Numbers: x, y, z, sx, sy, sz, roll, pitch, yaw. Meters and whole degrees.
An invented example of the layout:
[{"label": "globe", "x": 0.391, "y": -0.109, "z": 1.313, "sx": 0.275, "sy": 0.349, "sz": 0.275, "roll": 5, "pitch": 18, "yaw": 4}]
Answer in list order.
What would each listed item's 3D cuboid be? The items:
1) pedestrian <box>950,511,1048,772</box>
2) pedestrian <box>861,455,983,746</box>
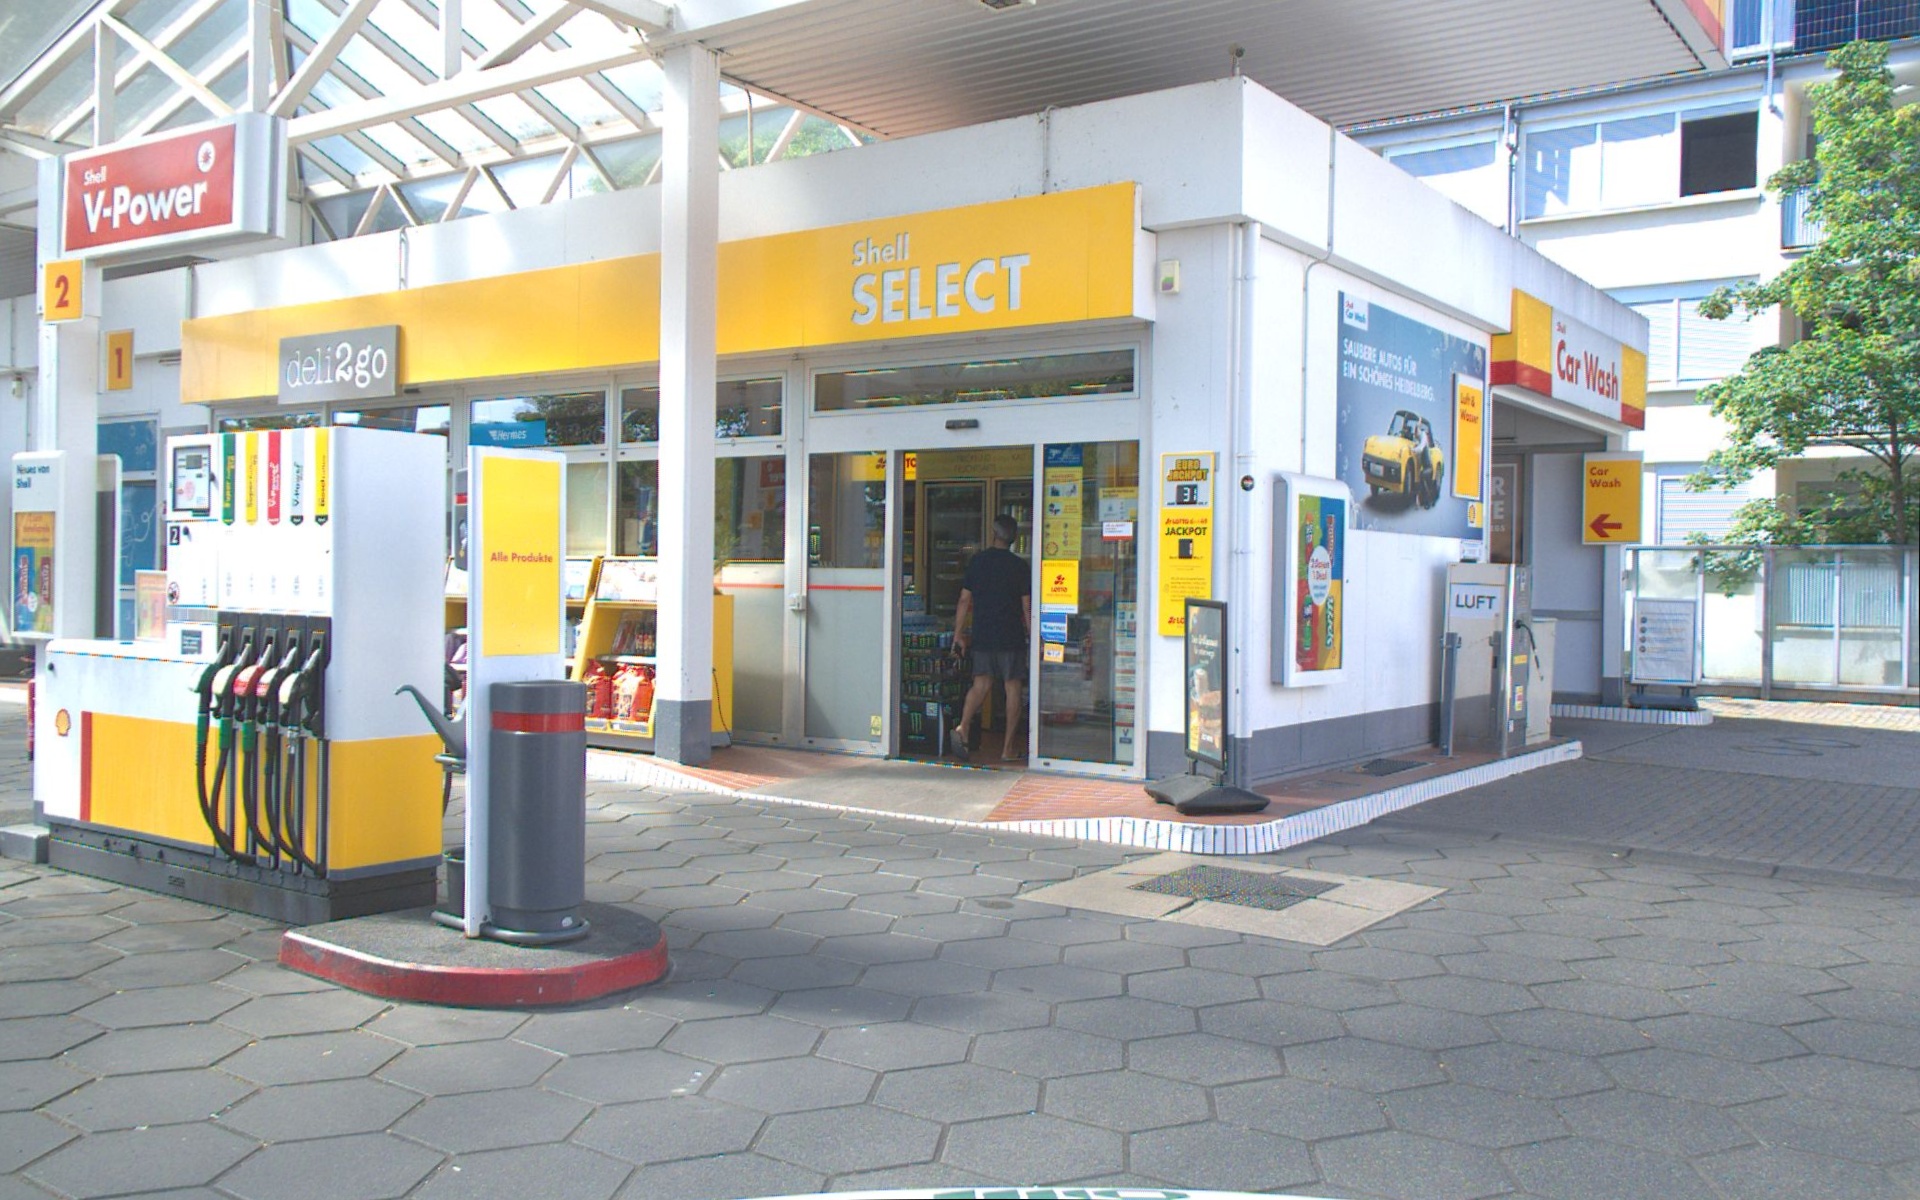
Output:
[{"label": "pedestrian", "x": 0.279, "y": 0.279, "z": 11.668, "sx": 0.559, "sy": 1.792, "sz": 0.531, "roll": 1, "pitch": 0, "yaw": 15}, {"label": "pedestrian", "x": -0.275, "y": -0.001, "z": 12.125, "sx": 0.609, "sy": 2.049, "sz": 0.742, "roll": 1, "pitch": 0, "yaw": 27}]
